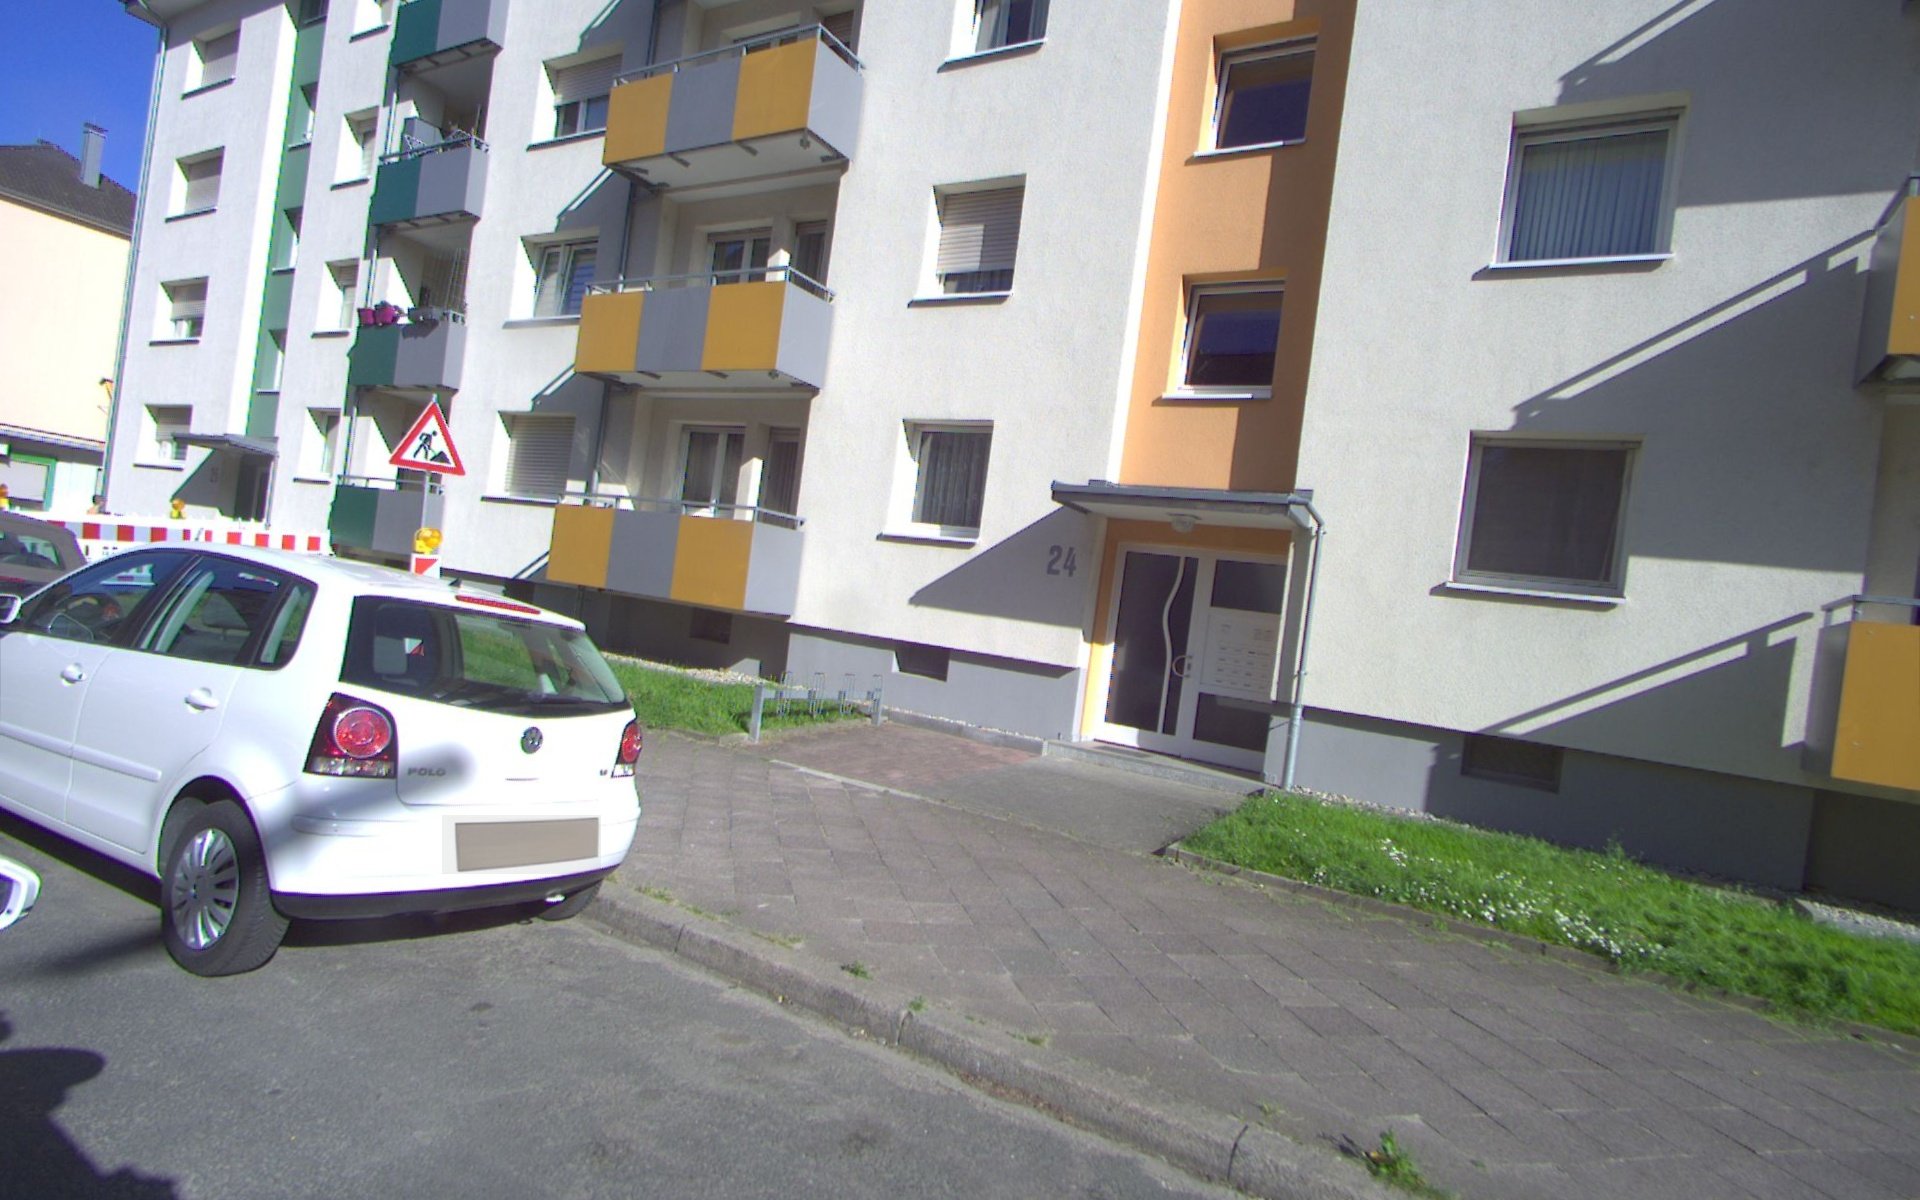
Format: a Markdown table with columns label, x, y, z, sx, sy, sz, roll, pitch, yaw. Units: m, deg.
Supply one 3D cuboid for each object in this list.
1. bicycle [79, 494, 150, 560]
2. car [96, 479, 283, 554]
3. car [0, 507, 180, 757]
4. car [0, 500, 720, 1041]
| label | x | y | z | sx | sy | sz | roll | pitch | yaw |
| --- | --- | --- | --- | --- | --- | --- | --- | --- | --- |
| bicycle | -17.040 | -1.477 | 20.264 | 1.866 | 1.136 | 0.559 | 9 | 7 | 32 |
| car | -23.964 | -2.562 | 31.427 | 1.796 | 1.633 | 4.241 | 8 | 1 | 37 |
| car | -7.308 | 0.023 | 7.015 | 3.523 | 1.483 | 1.693 | 7 | -3 | 32 |
| car | -3.238 | 0.515 | 4.729 | 3.753 | 1.477 | 1.693 | 8 | -4 | 28 |
